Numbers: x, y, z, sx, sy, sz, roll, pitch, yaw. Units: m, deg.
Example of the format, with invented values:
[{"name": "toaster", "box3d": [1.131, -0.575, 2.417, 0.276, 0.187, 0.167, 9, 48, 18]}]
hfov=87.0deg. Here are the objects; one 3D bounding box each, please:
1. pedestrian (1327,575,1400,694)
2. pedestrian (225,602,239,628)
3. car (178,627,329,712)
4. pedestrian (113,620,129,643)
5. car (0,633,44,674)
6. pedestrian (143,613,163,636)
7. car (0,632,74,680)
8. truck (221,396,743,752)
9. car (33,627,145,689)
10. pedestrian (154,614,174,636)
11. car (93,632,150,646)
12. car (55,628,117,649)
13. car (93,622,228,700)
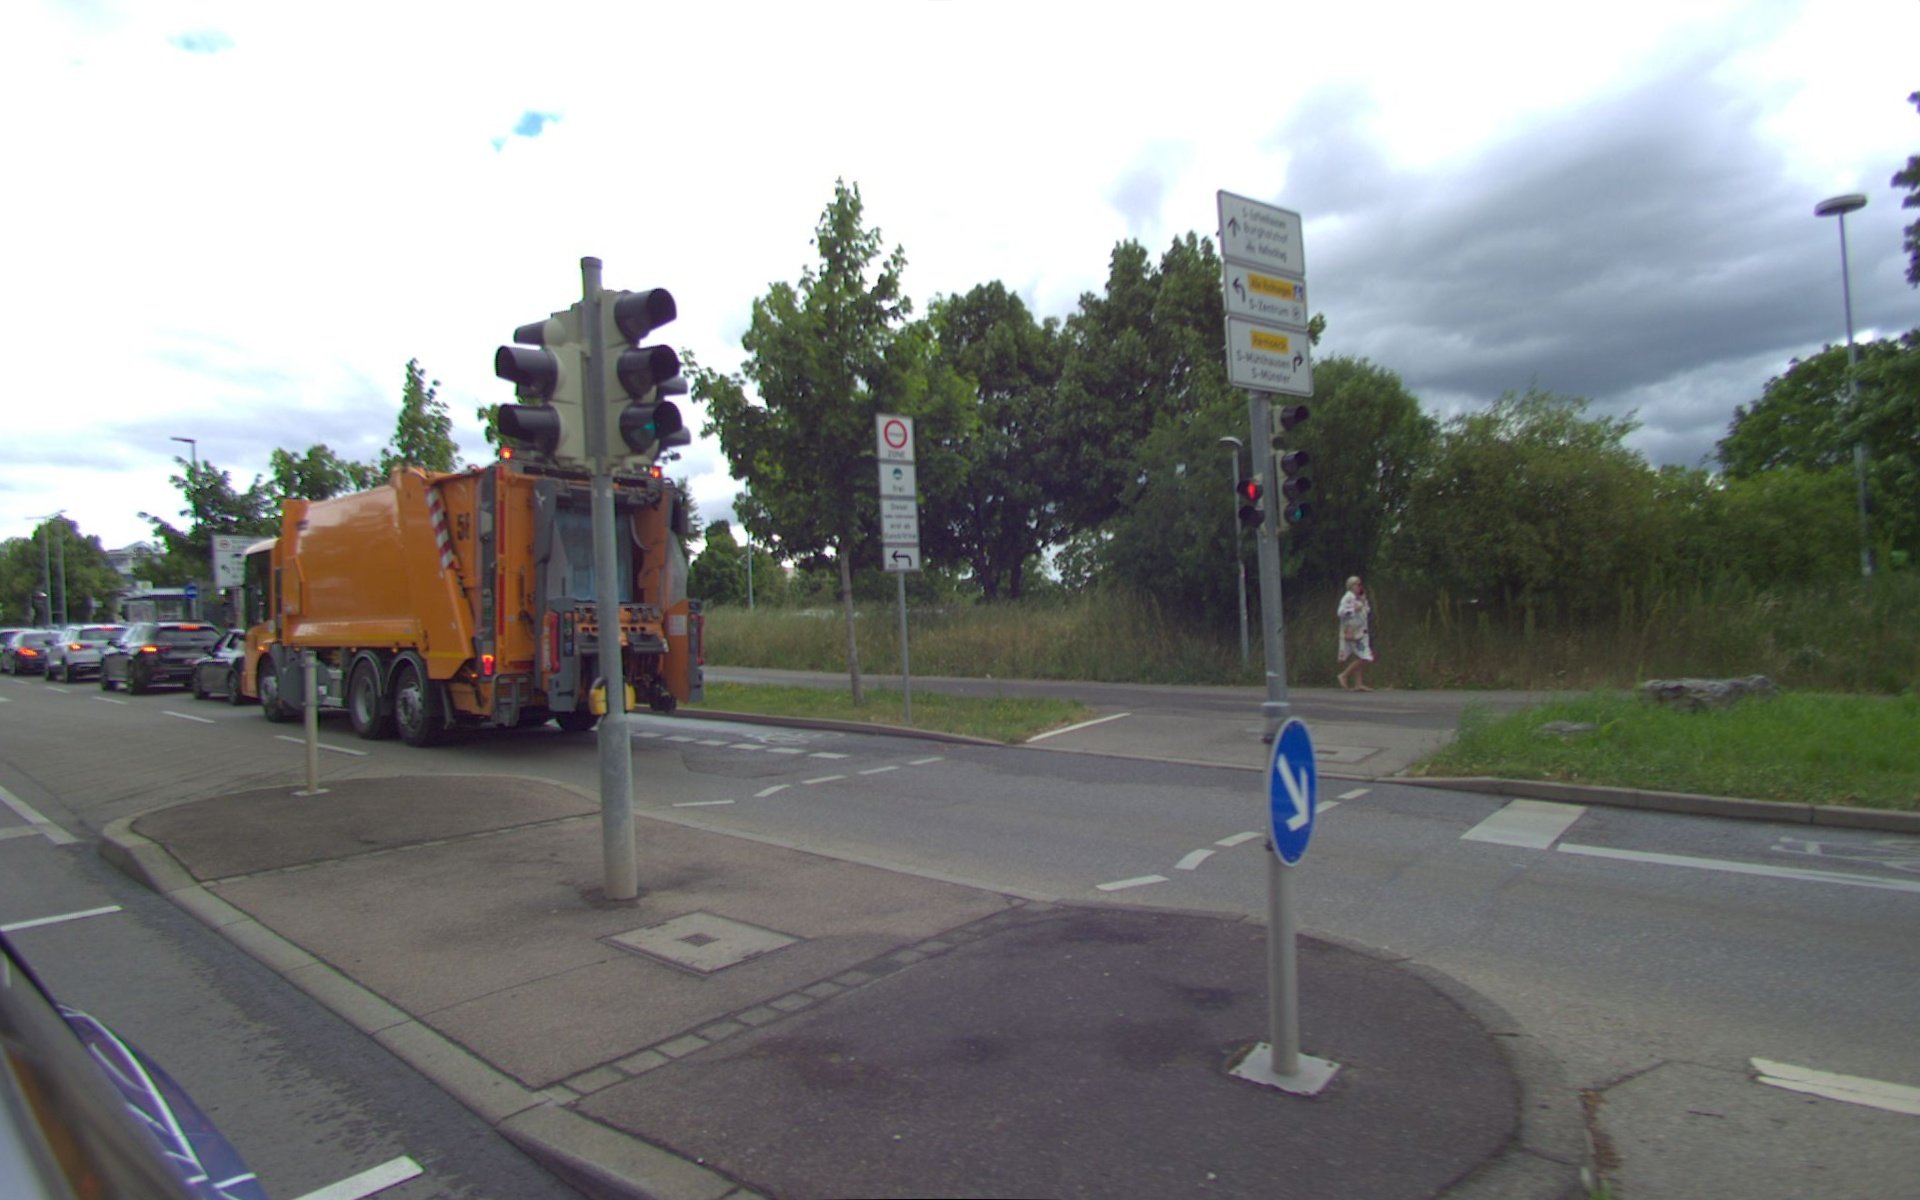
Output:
[{"name": "pedestrian", "box3d": [5.889, 0.492, 14.772, 0.753, 1.665, 0.736, -2, -1, 41]}, {"name": "pedestrian", "box3d": [-47.824, 0.988, 66.481, 0.541, 1.682, 0.430, -3, 0, -14]}, {"name": "car", "box3d": [-13.938, 1.321, 19.896, 3.890, 1.468, 1.420, -3, -1, 39]}, {"name": "pedestrian", "box3d": [-52.211, 1.957, 62.985, 0.771, 1.374, 0.545, -3, -1, 32]}, {"name": "car", "box3d": [-35.232, 1.986, 37.320, 3.758, 1.401, 1.623, -3, -1, 39]}, {"name": "pedestrian", "box3d": [-48.822, 1.500, 61.209, 0.548, 1.340, 0.766, -3, 0, 31]}, {"name": "car", "box3d": [-30.520, 1.807, 33.023, 4.880, 1.401, 1.623, -3, -1, 39]}, {"name": "truck", "box3d": [-7.297, -0.107, 14.237, 9.986, 3.513, 2.678, -3, -1, 40]}, {"name": "car", "box3d": [-24.919, 1.635, 28.910, 4.219, 1.597, 1.713, -3, -1, 39]}, {"name": "pedestrian", "box3d": [-47.658, 1.485, 60.565, 0.548, 1.236, 0.766, -3, 0, 31]}, {"name": "car", "box3d": [-85.868, 4.019, 103.710, 1.811, 1.351, 4.170, -3, -4, 36]}, {"name": "car", "box3d": [-85.633, 3.738, 99.201, 1.809, 1.793, 4.176, -3, 0, 32]}, {"name": "car", "box3d": [-18.673, 1.387, 23.571, 4.056, 1.597, 1.623, -3, -1, 39]}]
